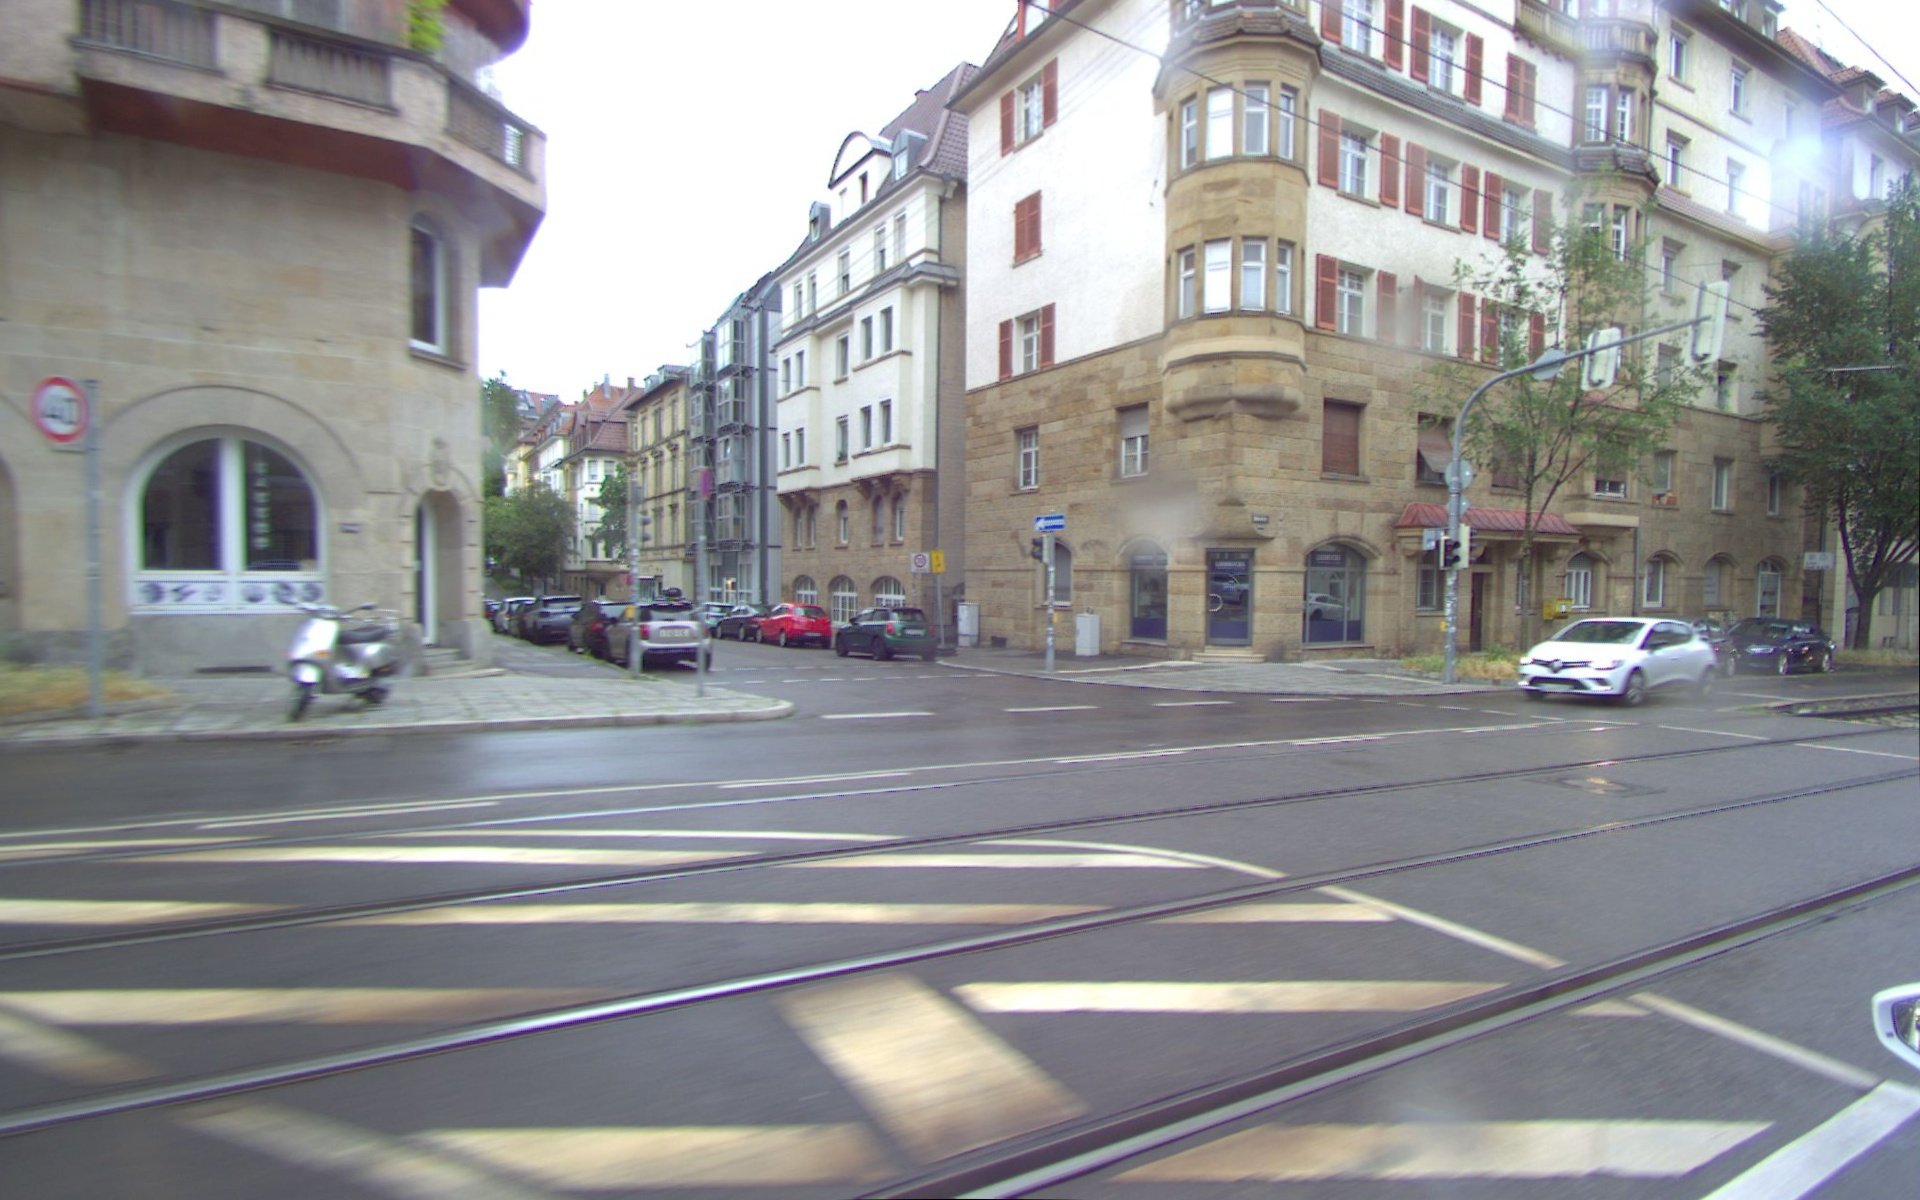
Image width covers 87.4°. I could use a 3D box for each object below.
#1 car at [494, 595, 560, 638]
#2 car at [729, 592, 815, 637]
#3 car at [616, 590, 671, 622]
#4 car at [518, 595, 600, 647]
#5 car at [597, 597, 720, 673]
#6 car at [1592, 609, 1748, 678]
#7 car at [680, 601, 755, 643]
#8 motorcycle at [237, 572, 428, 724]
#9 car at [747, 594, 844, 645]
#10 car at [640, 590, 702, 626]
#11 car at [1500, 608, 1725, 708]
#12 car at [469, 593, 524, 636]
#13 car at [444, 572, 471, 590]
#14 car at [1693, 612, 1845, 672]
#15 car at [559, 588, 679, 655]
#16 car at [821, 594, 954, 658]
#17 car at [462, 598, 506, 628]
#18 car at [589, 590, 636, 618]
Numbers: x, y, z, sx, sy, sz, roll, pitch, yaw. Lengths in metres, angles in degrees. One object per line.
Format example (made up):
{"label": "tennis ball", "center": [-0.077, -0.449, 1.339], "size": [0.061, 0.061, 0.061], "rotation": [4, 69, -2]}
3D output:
{"label": "car", "center": [-17.558, 0.625, 40.640], "size": [1.977, 1.595, 3.968], "rotation": [2, 0, -30]}
{"label": "car", "center": [-7.206, 0.524, 38.184], "size": [1.977, 1.595, 3.968], "rotation": [2, 0, -30]}
{"label": "car", "center": [-16.746, 0.304, 53.039], "size": [1.977, 1.595, 3.968], "rotation": [2, 0, -30]}
{"label": "car", "center": [-13.372, 0.664, 33.385], "size": [1.977, 1.595, 3.968], "rotation": [2, 0, -30]}
{"label": "car", "center": [-6.799, 0.731, 22.386], "size": [1.727, 1.486, 3.968], "rotation": [2, 0, -30]}
{"label": "car", "center": [17.516, 1.062, 24.734], "size": [4.130, 1.549, 1.680], "rotation": [2, 0, -33]}
{"label": "car", "center": [-10.213, 0.895, 42.131], "size": [1.977, 1.595, 3.968], "rotation": [2, 0, -30]}
{"label": "motorcycle", "center": [-6.326, 0.457, 10.253], "size": [0.752, 1.393, 1.785], "rotation": [2, 0, 1]}
{"label": "car", "center": [-5.675, 0.639, 34.292], "size": [1.977, 1.595, 3.968], "rotation": [2, 0, -30]}
{"label": "car", "center": [-14.033, 0.366, 48.698], "size": [1.977, 1.595, 3.968], "rotation": [2, 0, -30]}
{"label": "car", "center": [11.396, 0.978, 17.478], "size": [4.018, 1.522, 1.771], "rotation": [2, 0, -33]}
{"label": "car", "center": [-22.504, 0.694, 48.714], "size": [2.047, 1.932, 3.968], "rotation": [2, 0, -30]}
{"label": "car", "center": [-49.340, -1.870, 98.547], "size": [1.978, 1.595, 3.965], "rotation": [2, 0, -32]}
{"label": "car", "center": [22.229, 1.153, 27.551], "size": [4.924, 1.479, 1.771], "rotation": [2, 0, -33]}
{"label": "car", "center": [-9.002, 0.536, 26.306], "size": [1.980, 1.595, 3.962], "rotation": [2, 0, -34]}
{"label": "car", "center": [-2.086, 0.689, 27.796], "size": [1.979, 1.595, 3.963], "rotation": [2, 0, -33]}
{"label": "car", "center": [-27.642, 0.726, 58.306], "size": [1.977, 1.595, 3.968], "rotation": [2, 0, -30]}
{"label": "car", "center": [-21.167, 0.212, 61.047], "size": [1.977, 1.595, 3.968], "rotation": [2, 0, -30]}
